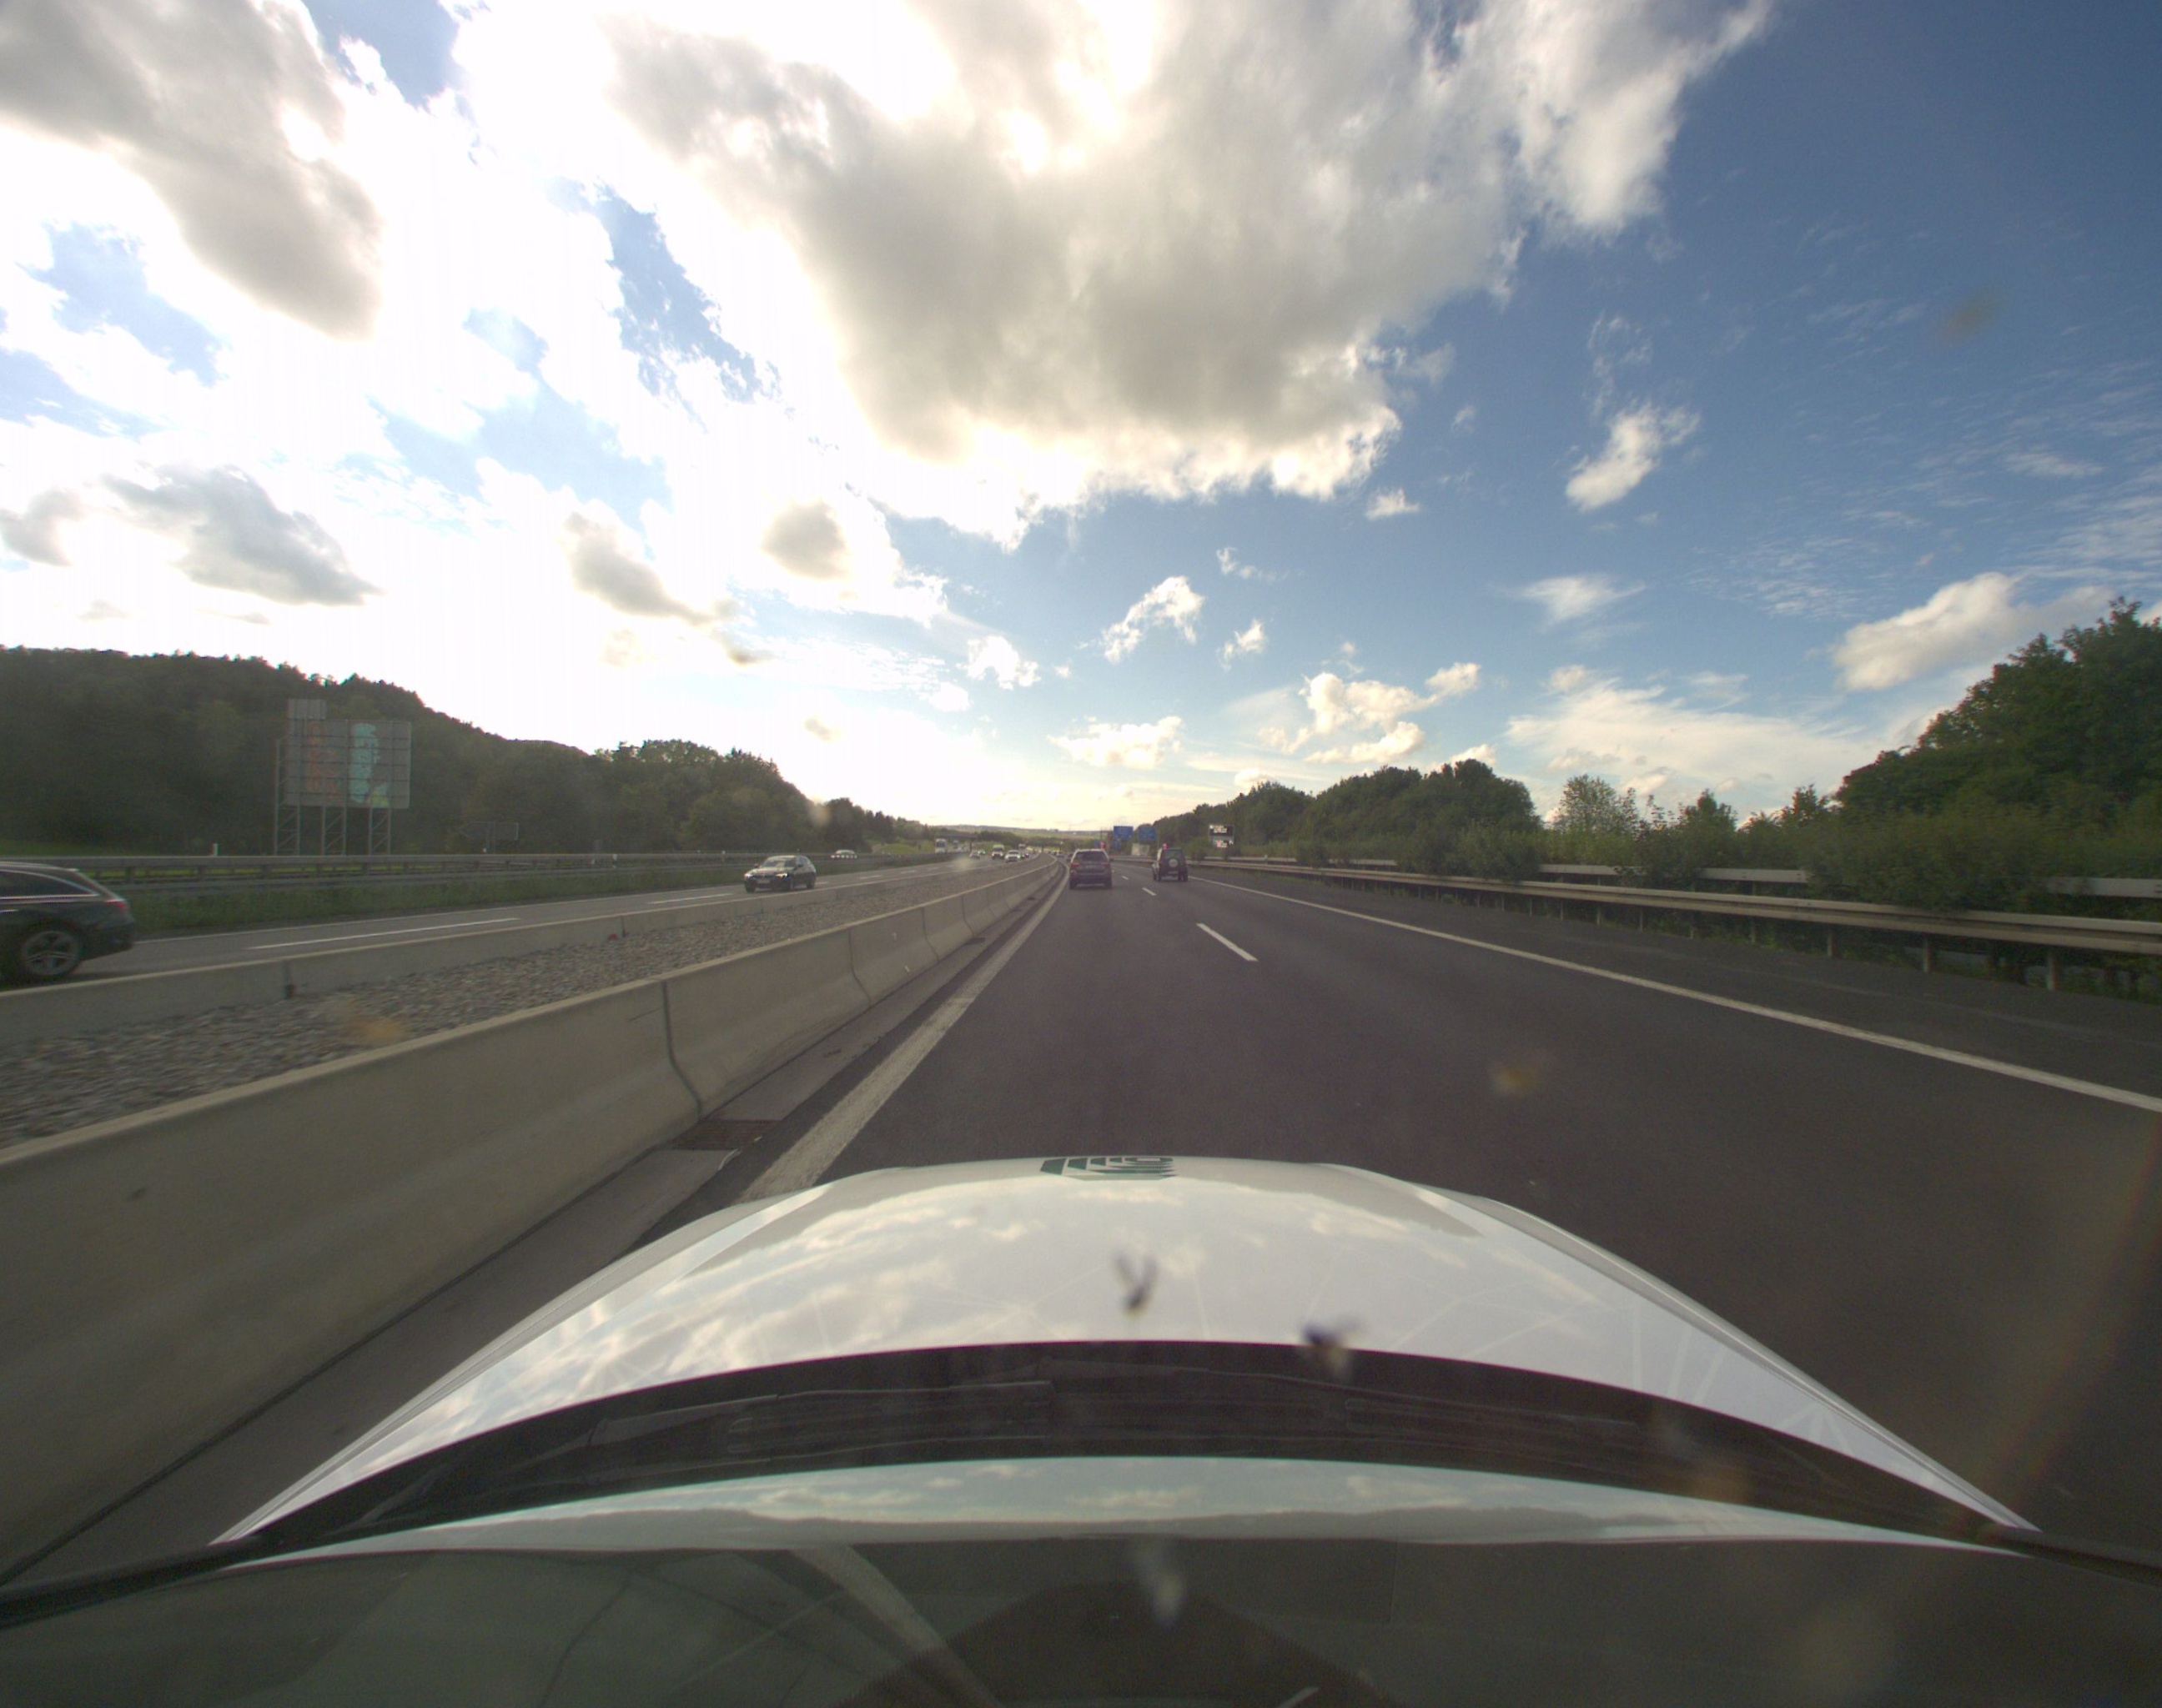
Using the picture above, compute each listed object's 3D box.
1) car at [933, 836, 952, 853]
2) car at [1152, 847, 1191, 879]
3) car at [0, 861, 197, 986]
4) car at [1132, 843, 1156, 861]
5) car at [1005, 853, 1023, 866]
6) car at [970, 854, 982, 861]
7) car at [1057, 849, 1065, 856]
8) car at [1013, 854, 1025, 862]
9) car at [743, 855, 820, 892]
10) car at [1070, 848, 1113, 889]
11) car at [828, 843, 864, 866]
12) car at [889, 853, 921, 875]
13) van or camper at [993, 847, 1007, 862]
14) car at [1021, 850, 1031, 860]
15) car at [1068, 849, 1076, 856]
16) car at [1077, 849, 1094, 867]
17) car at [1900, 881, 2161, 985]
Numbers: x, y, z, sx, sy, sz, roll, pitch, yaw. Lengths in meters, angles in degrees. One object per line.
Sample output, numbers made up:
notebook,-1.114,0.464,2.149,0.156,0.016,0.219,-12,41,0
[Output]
car,-36.124,-2.410,213.201,3.811,4.080,14.803,0,0,-5
car,4.748,0.452,43.277,1.582,1.597,4.094,0,0,-1
car,-13.328,0.827,8.767,1.877,1.421,5.235,-1,0,0
car,15.552,-0.456,201.914,4.715,4.266,11.397,0,-2,-1
car,-8.544,0.661,104.532,1.837,1.611,5.135,0,0,0
car,-19.516,0.589,151.242,1.622,1.293,4.753,0,0,-1
car,-5.183,-0.297,213.611,1.989,1.684,3.995,0,-2,-3
car,-10.824,0.698,142.827,1.919,1.435,4.775,0,0,-1
car,-12.500,0.783,34.335,1.782,1.417,4.988,0,0,-5
car,0.451,0.647,36.899,1.811,1.736,5.186,0,-1,0
car,-23.367,0.061,81.099,1.986,2.233,5.147,0,0,1
car,-13.874,0.743,64.434,1.720,1.699,4.150,0,0,-1
van or camper,-14.424,0.110,145.192,1.981,2.624,6.860,0,0,-1
car,-11.727,0.156,173.856,1.988,2.013,4.270,0,0,-1
car,-2.645,-0.356,245.332,1.991,1.929,3.992,0,-2,-5
car,0.603,0.521,99.035,2.023,2.151,4.001,0,0,1
car,18.226,1.347,15.263,1.777,1.571,4.026,0,0,1
